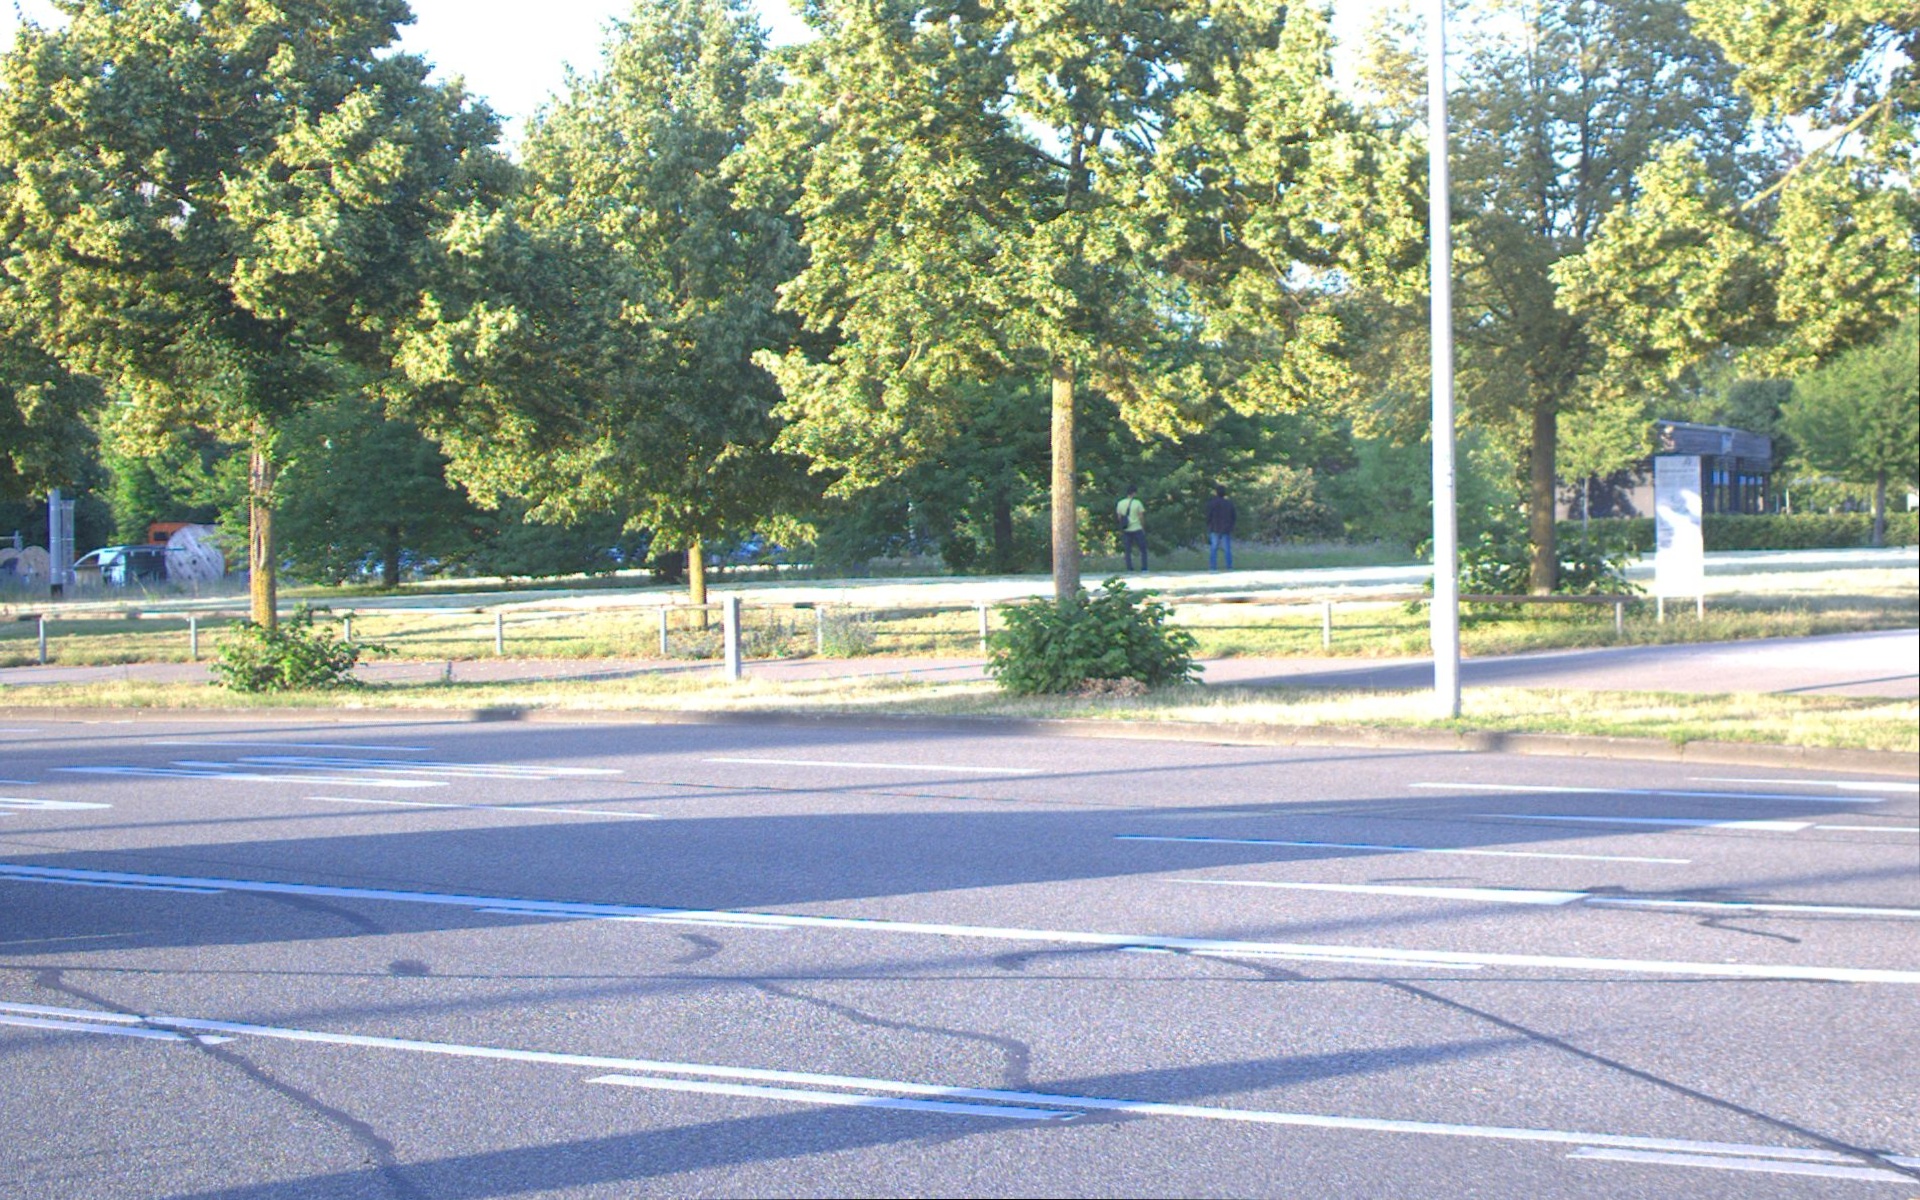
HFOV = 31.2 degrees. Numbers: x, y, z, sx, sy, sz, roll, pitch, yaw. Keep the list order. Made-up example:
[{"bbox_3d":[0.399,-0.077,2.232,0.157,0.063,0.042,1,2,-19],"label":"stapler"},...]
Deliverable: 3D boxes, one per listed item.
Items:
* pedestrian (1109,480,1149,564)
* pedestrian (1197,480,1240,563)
[{"bbox_3d":[3.319,-1.535,67.642,0.579,1.621,0.533,-2,1,-22],"label":"pedestrian"},{"bbox_3d":[5.062,-1.544,67.438,0.618,1.621,0.530,-2,2,-38],"label":"pedestrian"}]
